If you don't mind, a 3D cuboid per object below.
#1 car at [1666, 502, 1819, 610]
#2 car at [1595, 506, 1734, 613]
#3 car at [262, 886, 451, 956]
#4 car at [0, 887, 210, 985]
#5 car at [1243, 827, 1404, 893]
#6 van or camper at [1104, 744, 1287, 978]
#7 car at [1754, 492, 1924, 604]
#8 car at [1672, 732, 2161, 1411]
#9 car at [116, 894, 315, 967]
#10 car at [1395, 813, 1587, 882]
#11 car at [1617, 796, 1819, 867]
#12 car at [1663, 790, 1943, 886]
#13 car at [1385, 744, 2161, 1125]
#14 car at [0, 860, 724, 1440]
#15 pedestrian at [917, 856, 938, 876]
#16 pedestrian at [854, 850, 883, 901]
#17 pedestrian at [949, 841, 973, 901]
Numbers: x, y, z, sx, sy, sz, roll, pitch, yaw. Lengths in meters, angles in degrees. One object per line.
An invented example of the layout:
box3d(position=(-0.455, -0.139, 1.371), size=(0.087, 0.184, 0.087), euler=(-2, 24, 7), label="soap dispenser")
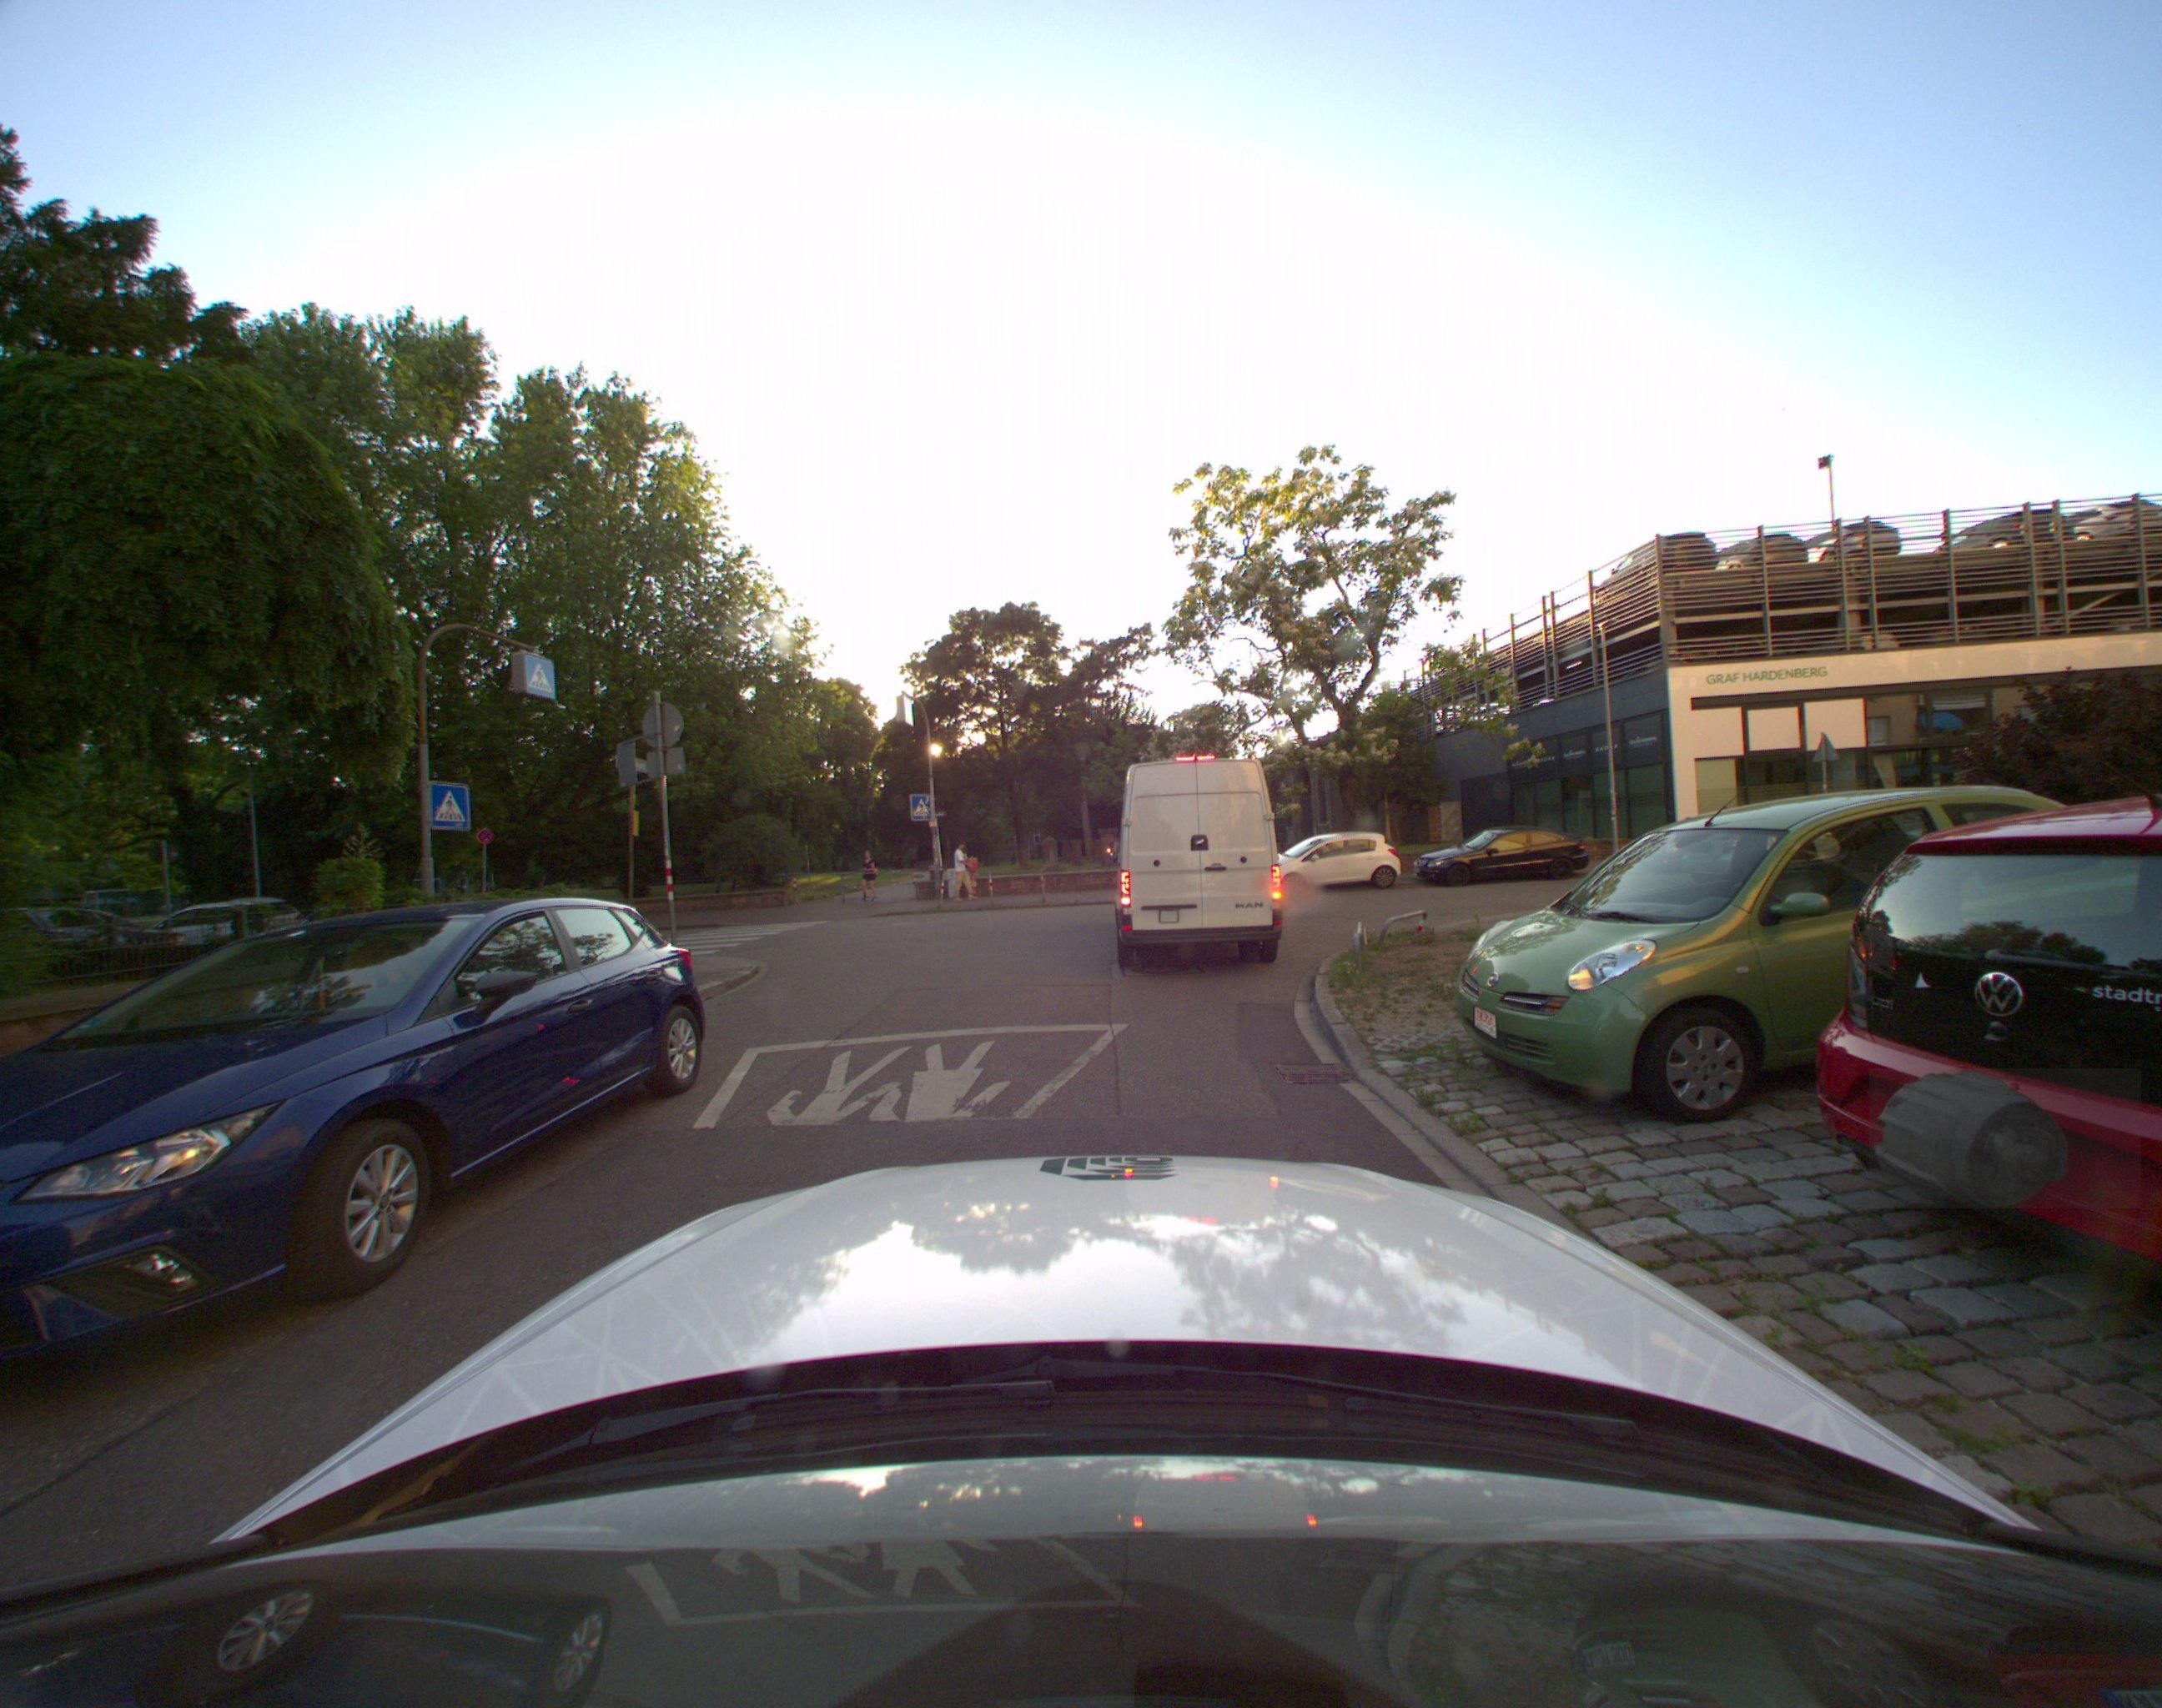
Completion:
box3d(position=(21.682, -9.724, 26.933), size=(1.984, 2.013, 4.006), euler=(-2, 0, 6), label="car")
box3d(position=(19.214, -9.647, 27.064), size=(1.984, 2.013, 4.006), euler=(-2, 0, 6), label="car")
box3d(position=(-20.958, 1.925, 23.670), size=(3.832, 1.491, 1.828), euler=(-4, 6, 7), label="car")
box3d(position=(-21.547, 1.754, 17.281), size=(4.212, 1.799, 1.824), euler=(-4, -3, 2), label="car")
box3d(position=(6.662, 0.150, 22.683), size=(3.844, 1.574, 1.957), euler=(-3, 0, -2), label="car")
box3d(position=(1.594, 0.090, 12.539), size=(1.984, 2.618, 6.412), euler=(-2, 0, 5), label="van or camper")
box3d(position=(24.496, -9.839, 26.556), size=(1.984, 2.013, 4.006), euler=(-2, 0, 6), label="car")
box3d(position=(4.761, 0.279, 2.489), size=(4.386, 1.631, 1.847), euler=(-7, 0, 2), label="car")
box3d(position=(-25.662, 2.255, 24.252), size=(3.852, 1.562, 1.826), euler=(-4, 6, 3), label="car")
box3d(position=(11.091, -0.175, 22.285), size=(4.273, 1.503, 1.826), euler=(-4, 0, 4), label="car")
box3d(position=(16.832, -0.583, 21.681), size=(3.819, 1.503, 1.826), euler=(-4, 0, 4), label="car")
box3d(position=(14.256, -0.308, 16.281), size=(3.819, 1.523, 1.826), euler=(-4, 0, 4), label="car")
box3d(position=(4.468, 0.367, 5.025), size=(4.392, 1.631, 1.844), euler=(-5, -2, -2), label="car")
box3d(position=(-3.534, 0.906, 4.192), size=(1.729, 1.567, 3.787), euler=(-5, 0, -3), label="car")
box3d(position=(-11.747, 0.930, 62.337), size=(1.324, 1.444, 1.046), euler=(-3, 0, -1), label="pedestrian")
box3d(position=(-7.107, 0.714, 27.281), size=(0.642, 1.648, 0.676), euler=(-1, 0, 12), label="pedestrian")
box3d(position=(-3.712, 0.505, 25.197), size=(0.591, 1.809, 0.621), euler=(-2, 0, 2), label="pedestrian")
